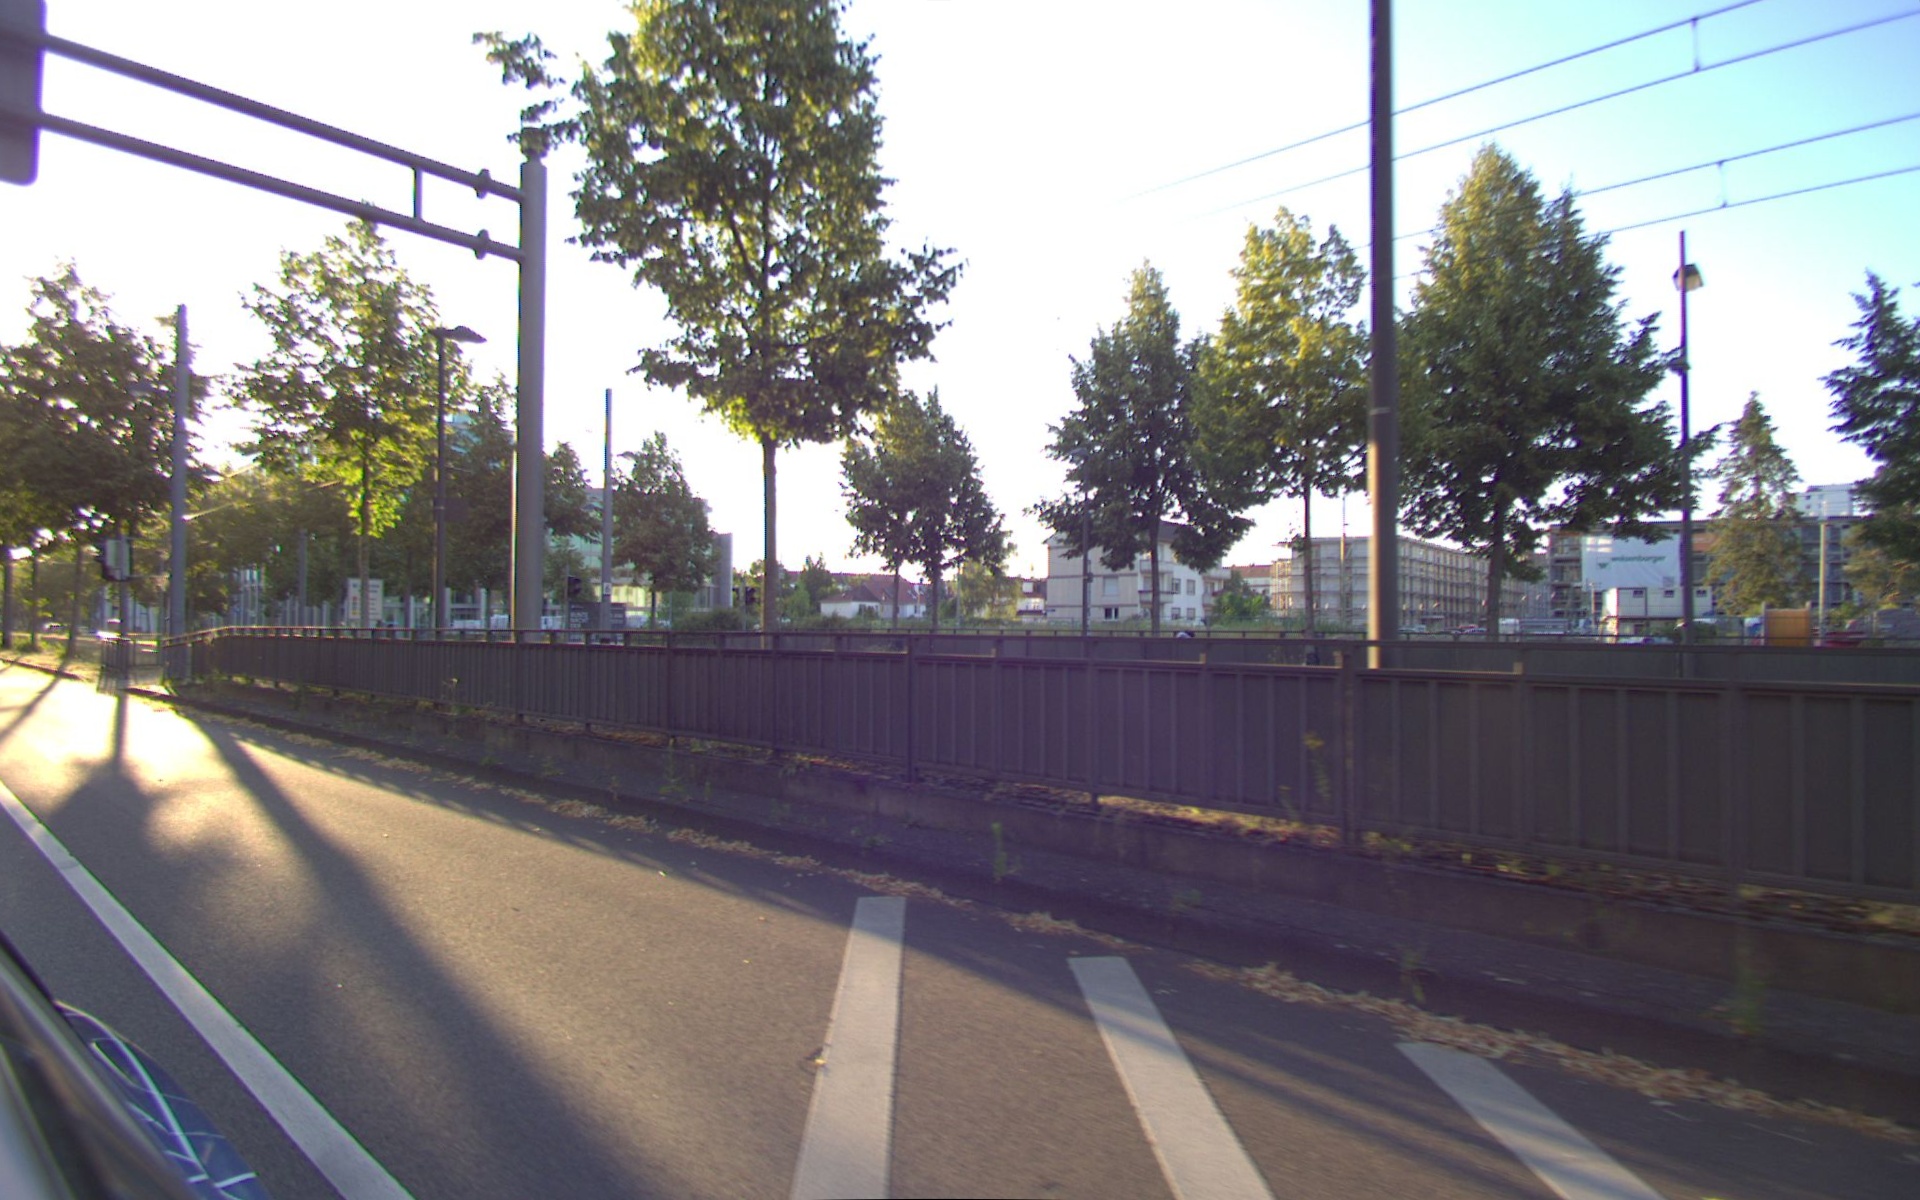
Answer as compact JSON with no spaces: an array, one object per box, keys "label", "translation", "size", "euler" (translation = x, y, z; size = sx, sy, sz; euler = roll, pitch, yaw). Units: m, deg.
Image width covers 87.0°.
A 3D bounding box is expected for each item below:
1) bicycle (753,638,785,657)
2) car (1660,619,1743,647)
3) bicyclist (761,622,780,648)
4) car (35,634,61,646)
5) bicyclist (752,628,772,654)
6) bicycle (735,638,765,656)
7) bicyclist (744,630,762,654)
[{"label":"bicycle","translation":[-10.945,2.712,57.901],"size":[2.081,1.019,0.613],"euler":[-1,-2,40]},{"label":"car","translation":[54.174,2.395,74.040],"size":[4.793,2.029,1.976],"euler":[-1,-2,35]},{"label":"bicyclist","translation":[-10.817,2.010,57.825],"size":[0.936,1.467,0.613],"euler":[-2,-2,40]},{"label":"car","translation":[-120.586,5.263,133.776],"size":[4.627,1.497,1.883],"euler":[-2,-3,40]},{"label":"bicyclist","translation":[-11.189,2.302,57.205],"size":[0.936,1.467,0.613],"euler":[-2,-2,40]},{"label":"bicycle","translation":[-12.398,2.762,59.707],"size":[2.081,1.019,0.613],"euler":[-1,-2,40]},{"label":"bicyclist","translation":[-12.194,2.456,59.569],"size":[0.936,1.432,0.613],"euler":[-2,-2,40]}]
